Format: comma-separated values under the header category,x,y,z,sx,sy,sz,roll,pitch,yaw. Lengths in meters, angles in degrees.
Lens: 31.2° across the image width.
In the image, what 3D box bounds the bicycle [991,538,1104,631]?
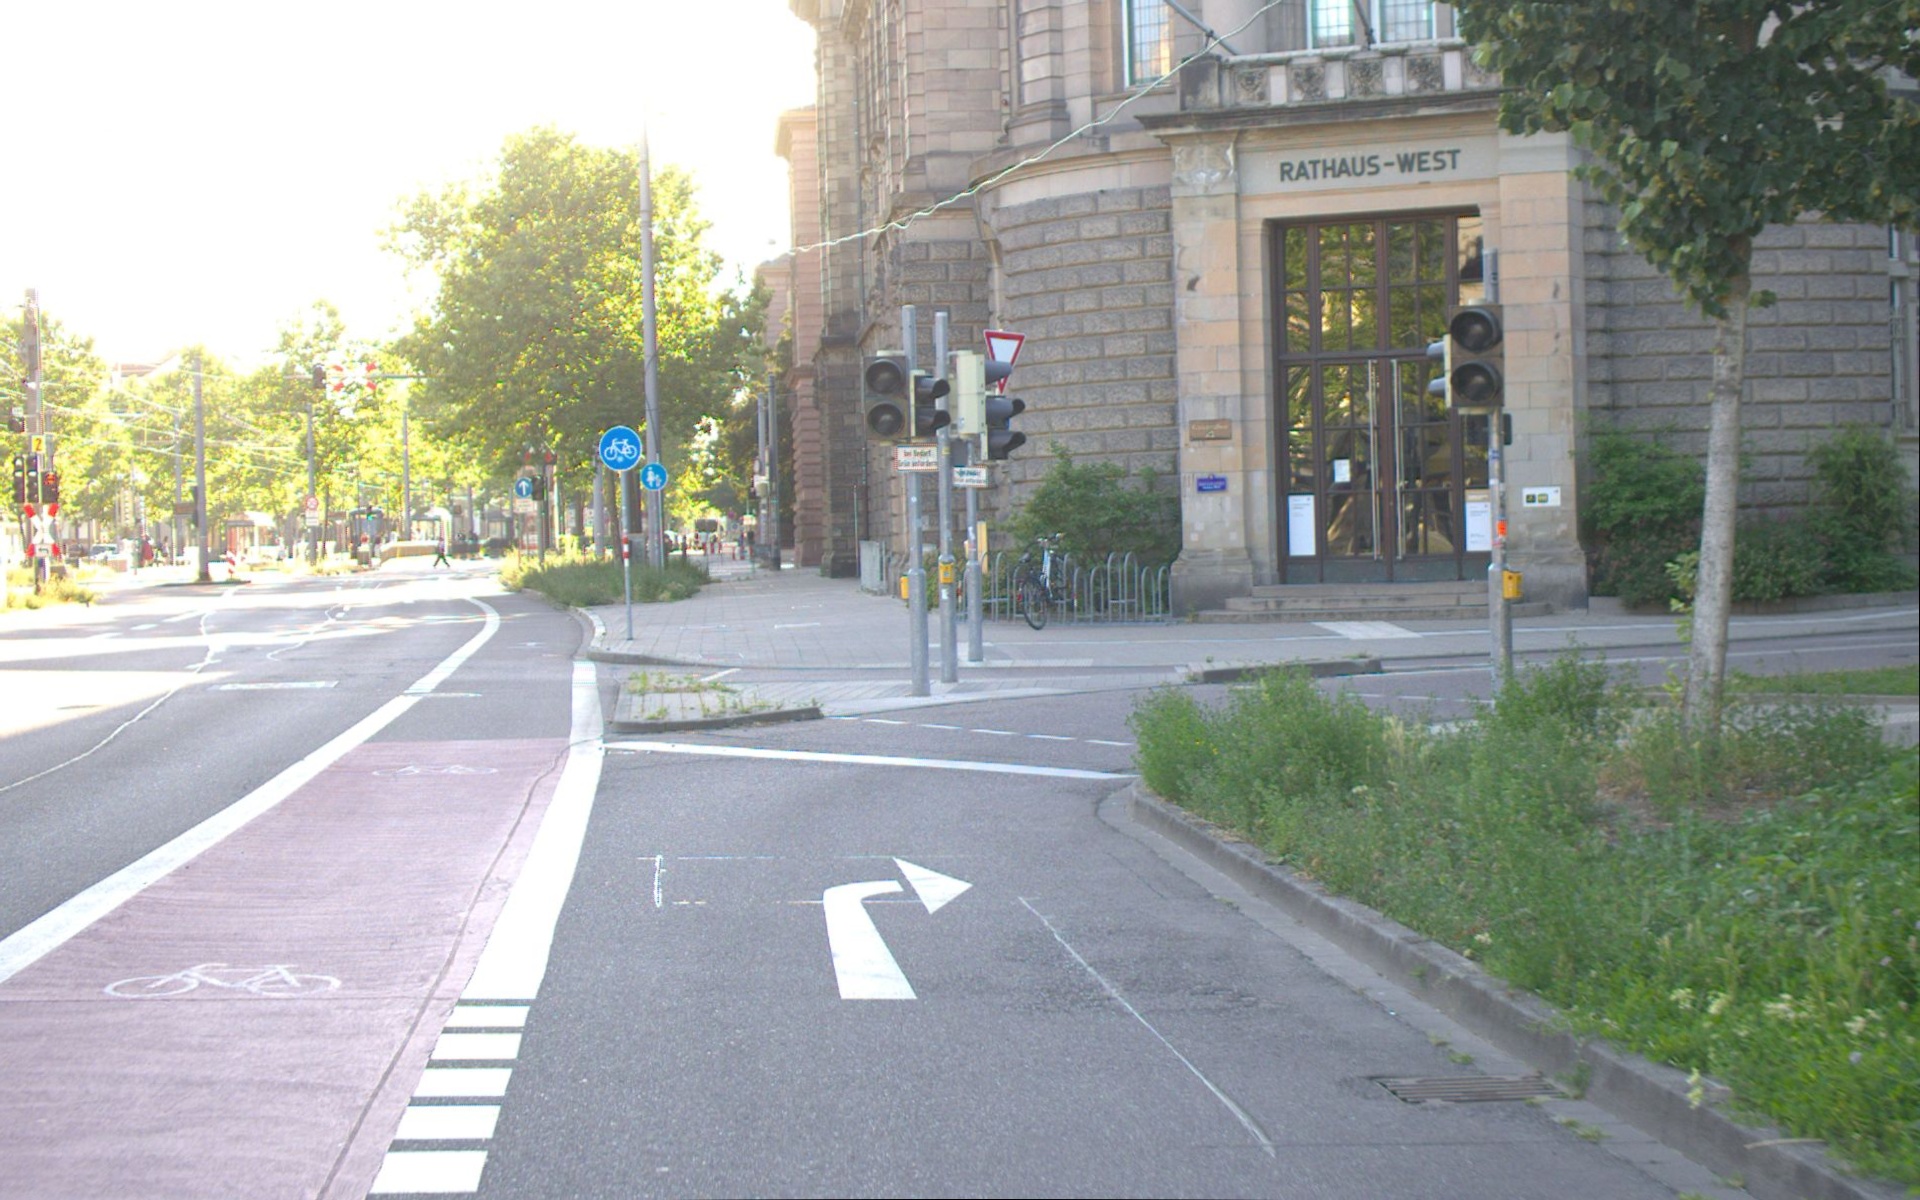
category,x,y,z,sx,sy,sz,roll,pitch,yaw
bicycle,1.197,-0.220,46.549,0.867,1.192,2.237,-1,1,19

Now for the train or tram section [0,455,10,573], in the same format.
category,x,y,z,sx,sy,sz,roll,pitch,yaw
train or tram section,-29.375,-2.384,94.652,3.111,3.547,19.937,-2,1,-7
